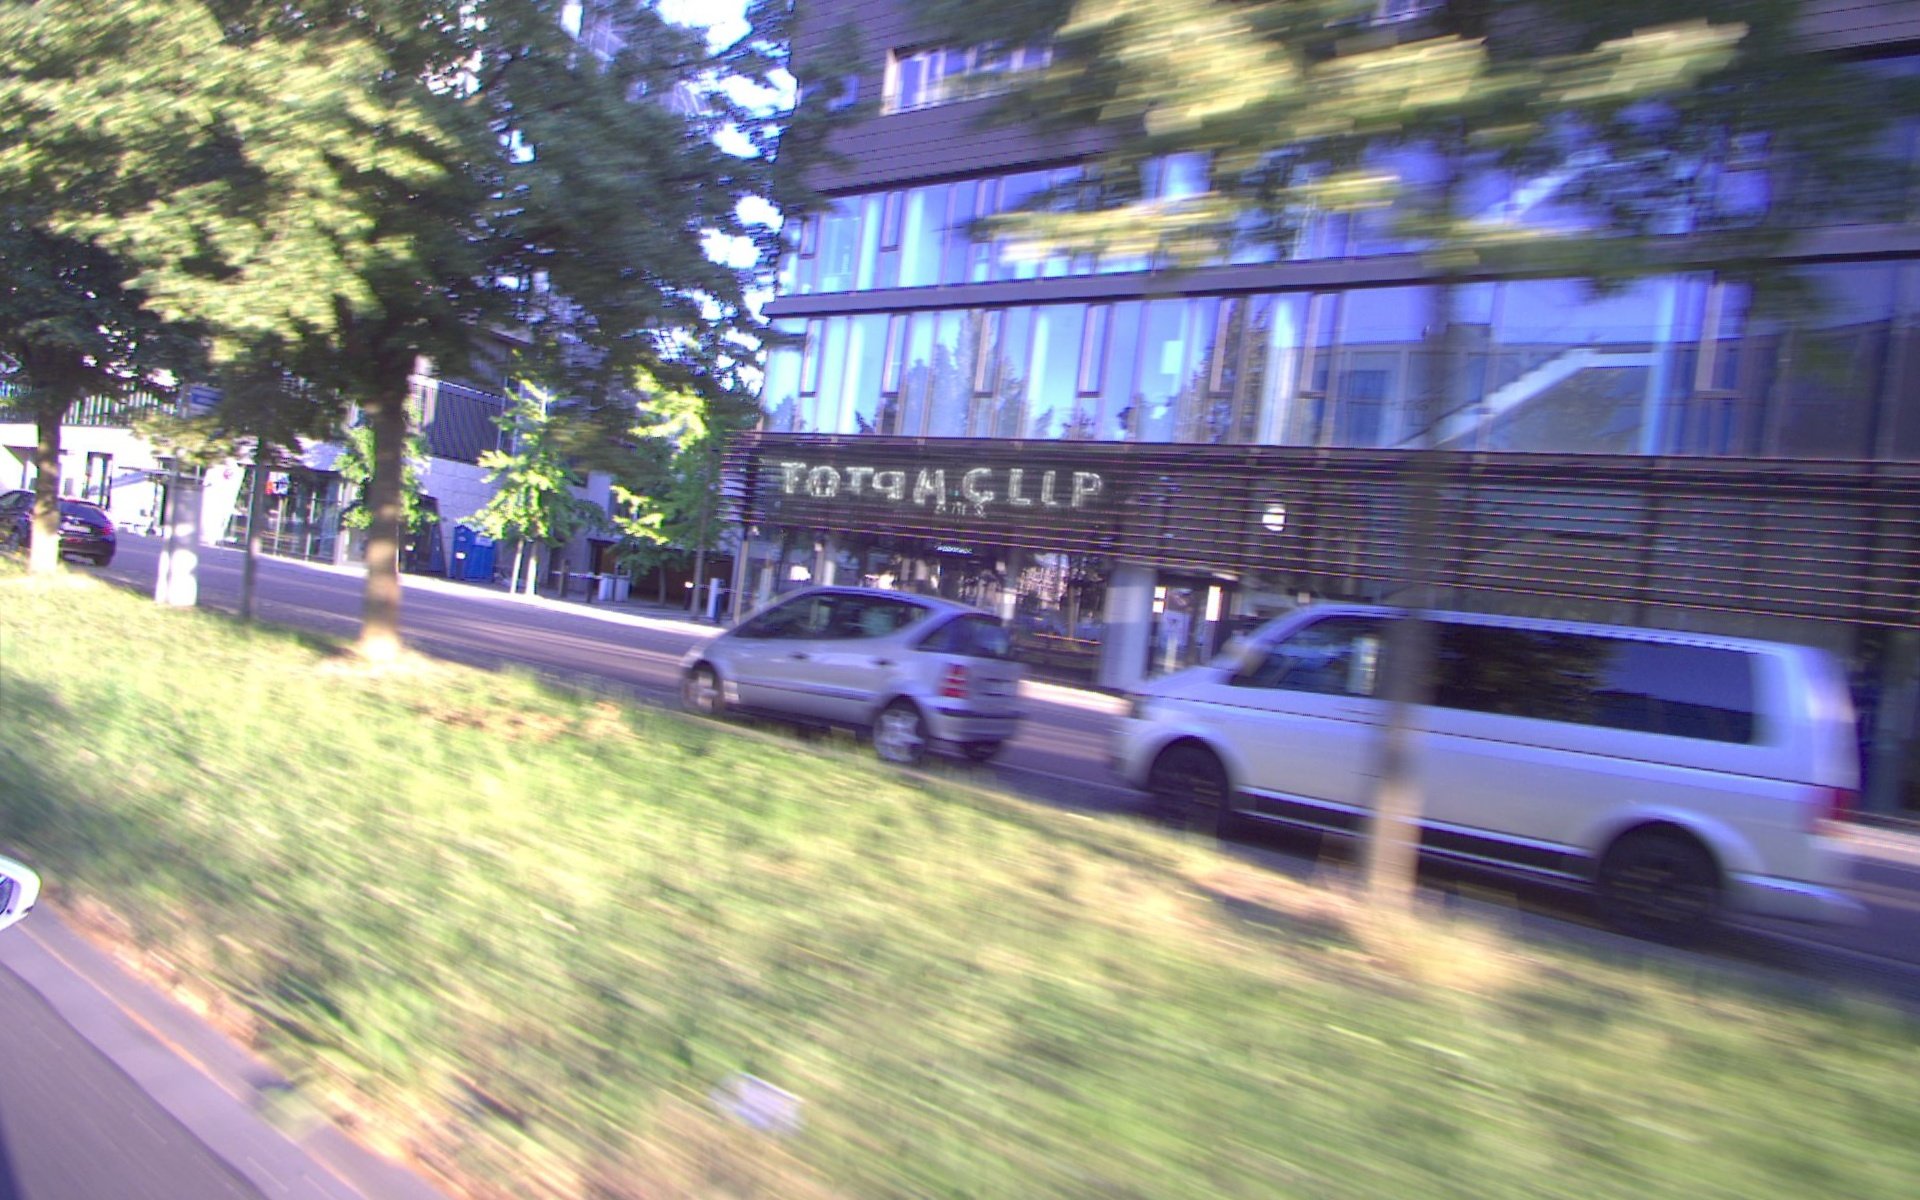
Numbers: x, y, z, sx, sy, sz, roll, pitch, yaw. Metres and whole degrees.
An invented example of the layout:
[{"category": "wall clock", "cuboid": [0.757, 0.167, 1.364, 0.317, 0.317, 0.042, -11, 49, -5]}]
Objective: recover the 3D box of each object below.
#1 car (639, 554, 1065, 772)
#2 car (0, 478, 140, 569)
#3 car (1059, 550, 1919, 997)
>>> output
[{"category": "car", "cuboid": [-1.180, 0.618, 10.612, 3.993, 1.588, 1.844, 7, -3, 31]}, {"category": "car", "cuboid": [-20.430, -1.764, 22.611, 3.934, 1.510, 1.785, 7, -3, 32]}, {"category": "car", "cuboid": [3.468, 0.979, 7.497, 4.850, 2.011, 1.991, 7, -2, 31]}]
